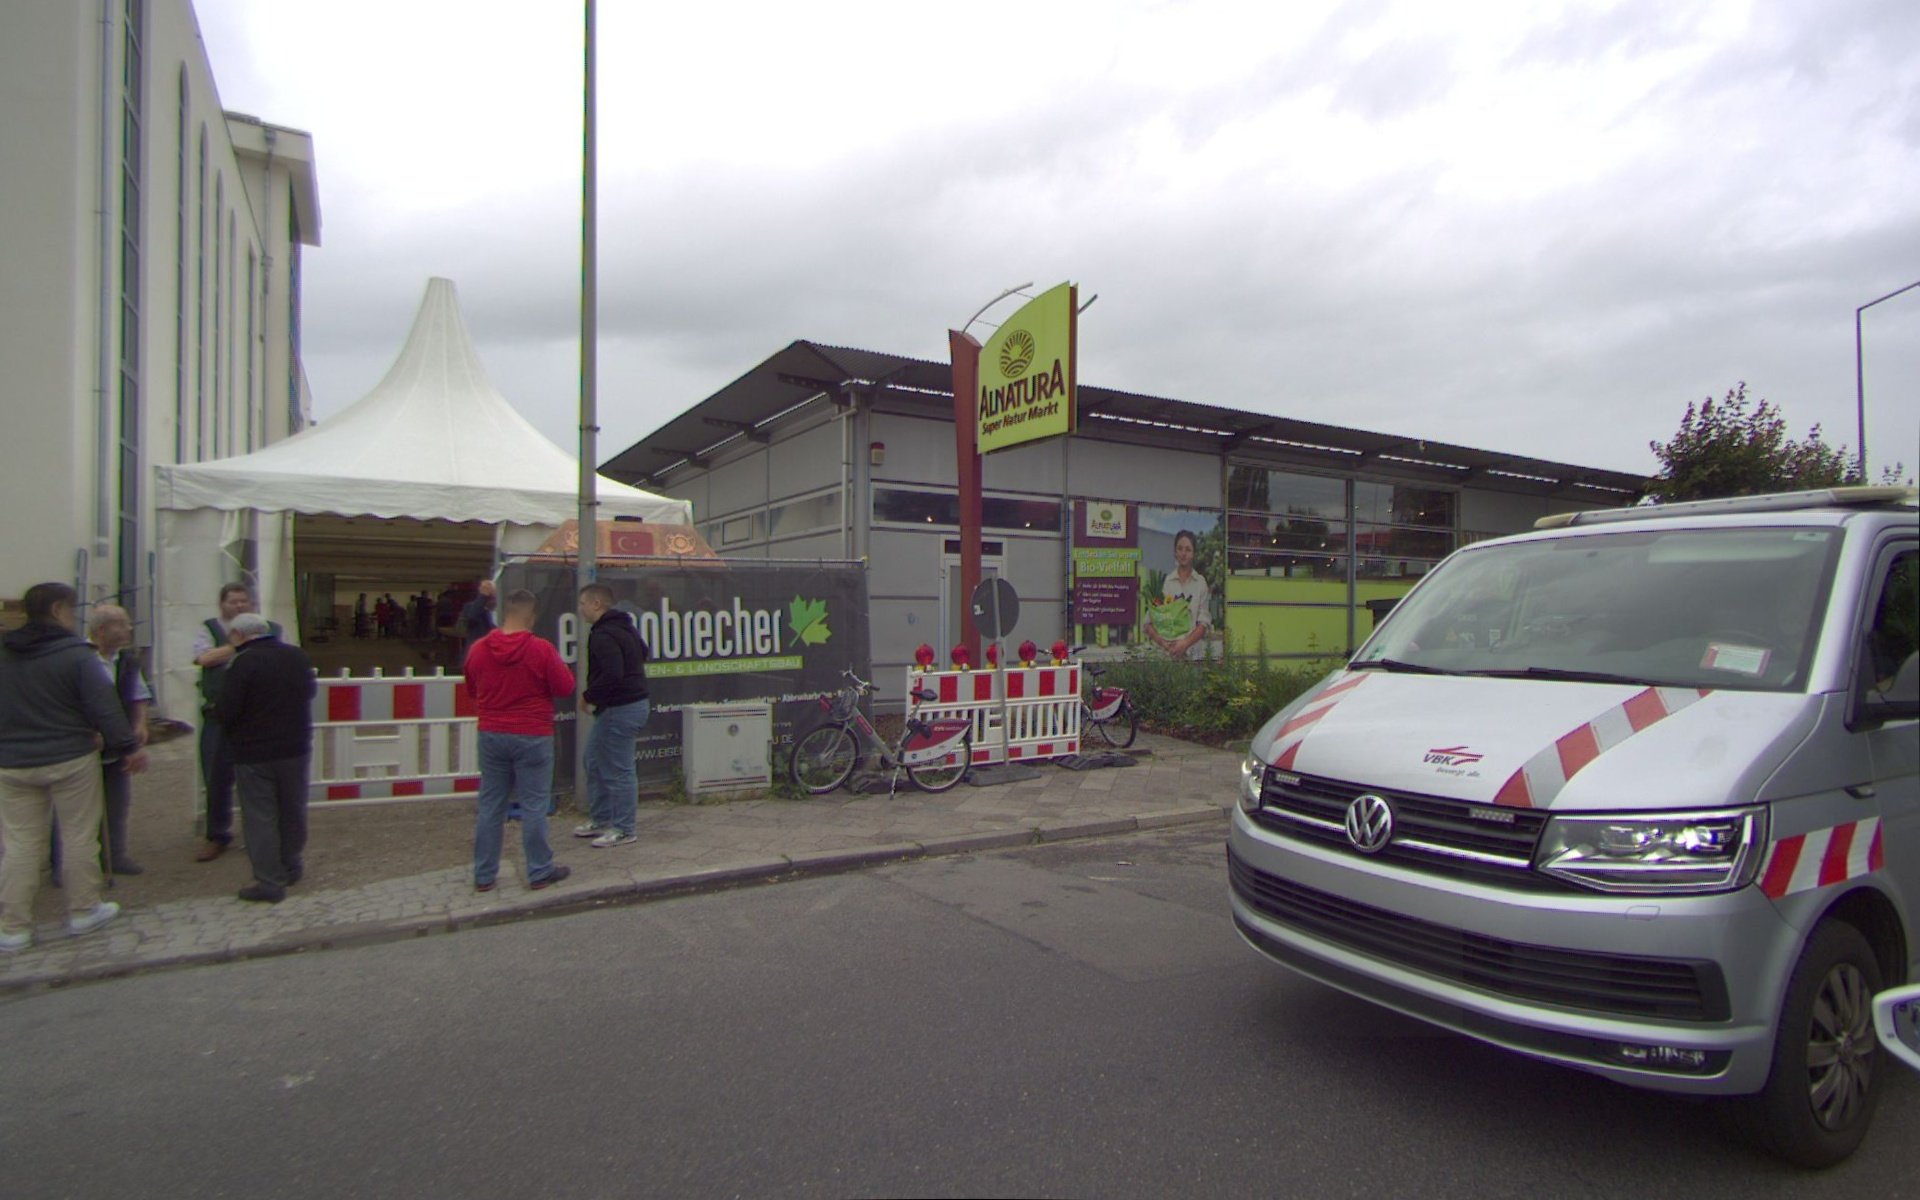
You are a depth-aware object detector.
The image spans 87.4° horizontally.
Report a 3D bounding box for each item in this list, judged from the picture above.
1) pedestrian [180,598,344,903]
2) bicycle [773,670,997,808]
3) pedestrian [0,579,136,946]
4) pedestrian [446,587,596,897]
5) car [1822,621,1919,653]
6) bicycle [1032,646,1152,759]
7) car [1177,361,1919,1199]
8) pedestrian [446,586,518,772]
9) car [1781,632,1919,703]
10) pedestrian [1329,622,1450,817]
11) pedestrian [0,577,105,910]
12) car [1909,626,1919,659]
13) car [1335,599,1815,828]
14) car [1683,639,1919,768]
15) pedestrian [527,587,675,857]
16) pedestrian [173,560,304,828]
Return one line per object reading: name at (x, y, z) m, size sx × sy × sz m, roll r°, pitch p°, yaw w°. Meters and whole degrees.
pedestrian at (-3.964, 0.811, 5.730) m, size 0.481 × 1.633 × 0.572 m, roll 0°, pitch -1°, yaw 14°
bicycle at (-0.641, 1.177, 8.825) m, size 1.875 × 1.092 × 0.542 m, roll 2°, pitch -1°, yaw -25°
pedestrian at (-4.671, 0.788, 5.134) m, size 0.686 × 1.772 × 0.485 m, roll 1°, pitch -1°, yaw -40°
pedestrian at (-2.610, 0.823, 6.015) m, size 0.707 × 1.778 × 0.410 m, roll 0°, pitch -1°, yaw -5°
car at (50.965, 2.044, 56.056) m, size 1.854 × 1.691 × 3.968 m, roll 1°, pitch -1°, yaw -30°
bicycle at (1.509, 1.158, 11.742) m, size 0.388 × 1.061 × 1.650 m, roll 1°, pitch 3°, yaw -32°
car at (3.426, 0.572, 4.298) m, size 4.898 × 2.040 × 1.918 m, roll 2°, pitch -2°, yaw -31°
pedestrian at (-4.360, 0.707, 9.174) m, size 0.464 × 1.657 × 0.422 m, roll 0°, pitch -1°, yaw -7°
car at (28.404, 2.055, 31.469) m, size 1.745 × 2.040 × 3.900 m, roll 1°, pitch -1°, yaw -37°
pedestrian at (3.819, 1.038, 8.959) m, size 0.646 × 1.642 × 0.670 m, roll 1°, pitch -5°, yaw -30°
pedestrian at (-5.160, 0.771, 5.634) m, size 0.524 × 1.772 × 0.485 m, roll 1°, pitch -1°, yaw -40°
car at (45.081, 1.906, 44.512) m, size 1.936 × 1.482 × 4.171 m, roll 1°, pitch -1°, yaw -38°
car at (5.927, 0.951, 9.555) m, size 4.673 × 1.713 × 1.857 m, roll 1°, pitch -4°, yaw -30°
car at (11.246, 1.235, 12.769) m, size 4.467 × 1.385 × 1.690 m, roll 1°, pitch -6°, yaw -32°
pedestrian at (-2.462, 0.795, 6.946) m, size 0.673 × 1.741 × 0.696 m, roll 1°, pitch 3°, yaw 13°
pedestrian at (-4.647, 0.571, 6.479) m, size 0.531 × 1.633 × 0.490 m, roll 2°, pitch 1°, yaw 31°
